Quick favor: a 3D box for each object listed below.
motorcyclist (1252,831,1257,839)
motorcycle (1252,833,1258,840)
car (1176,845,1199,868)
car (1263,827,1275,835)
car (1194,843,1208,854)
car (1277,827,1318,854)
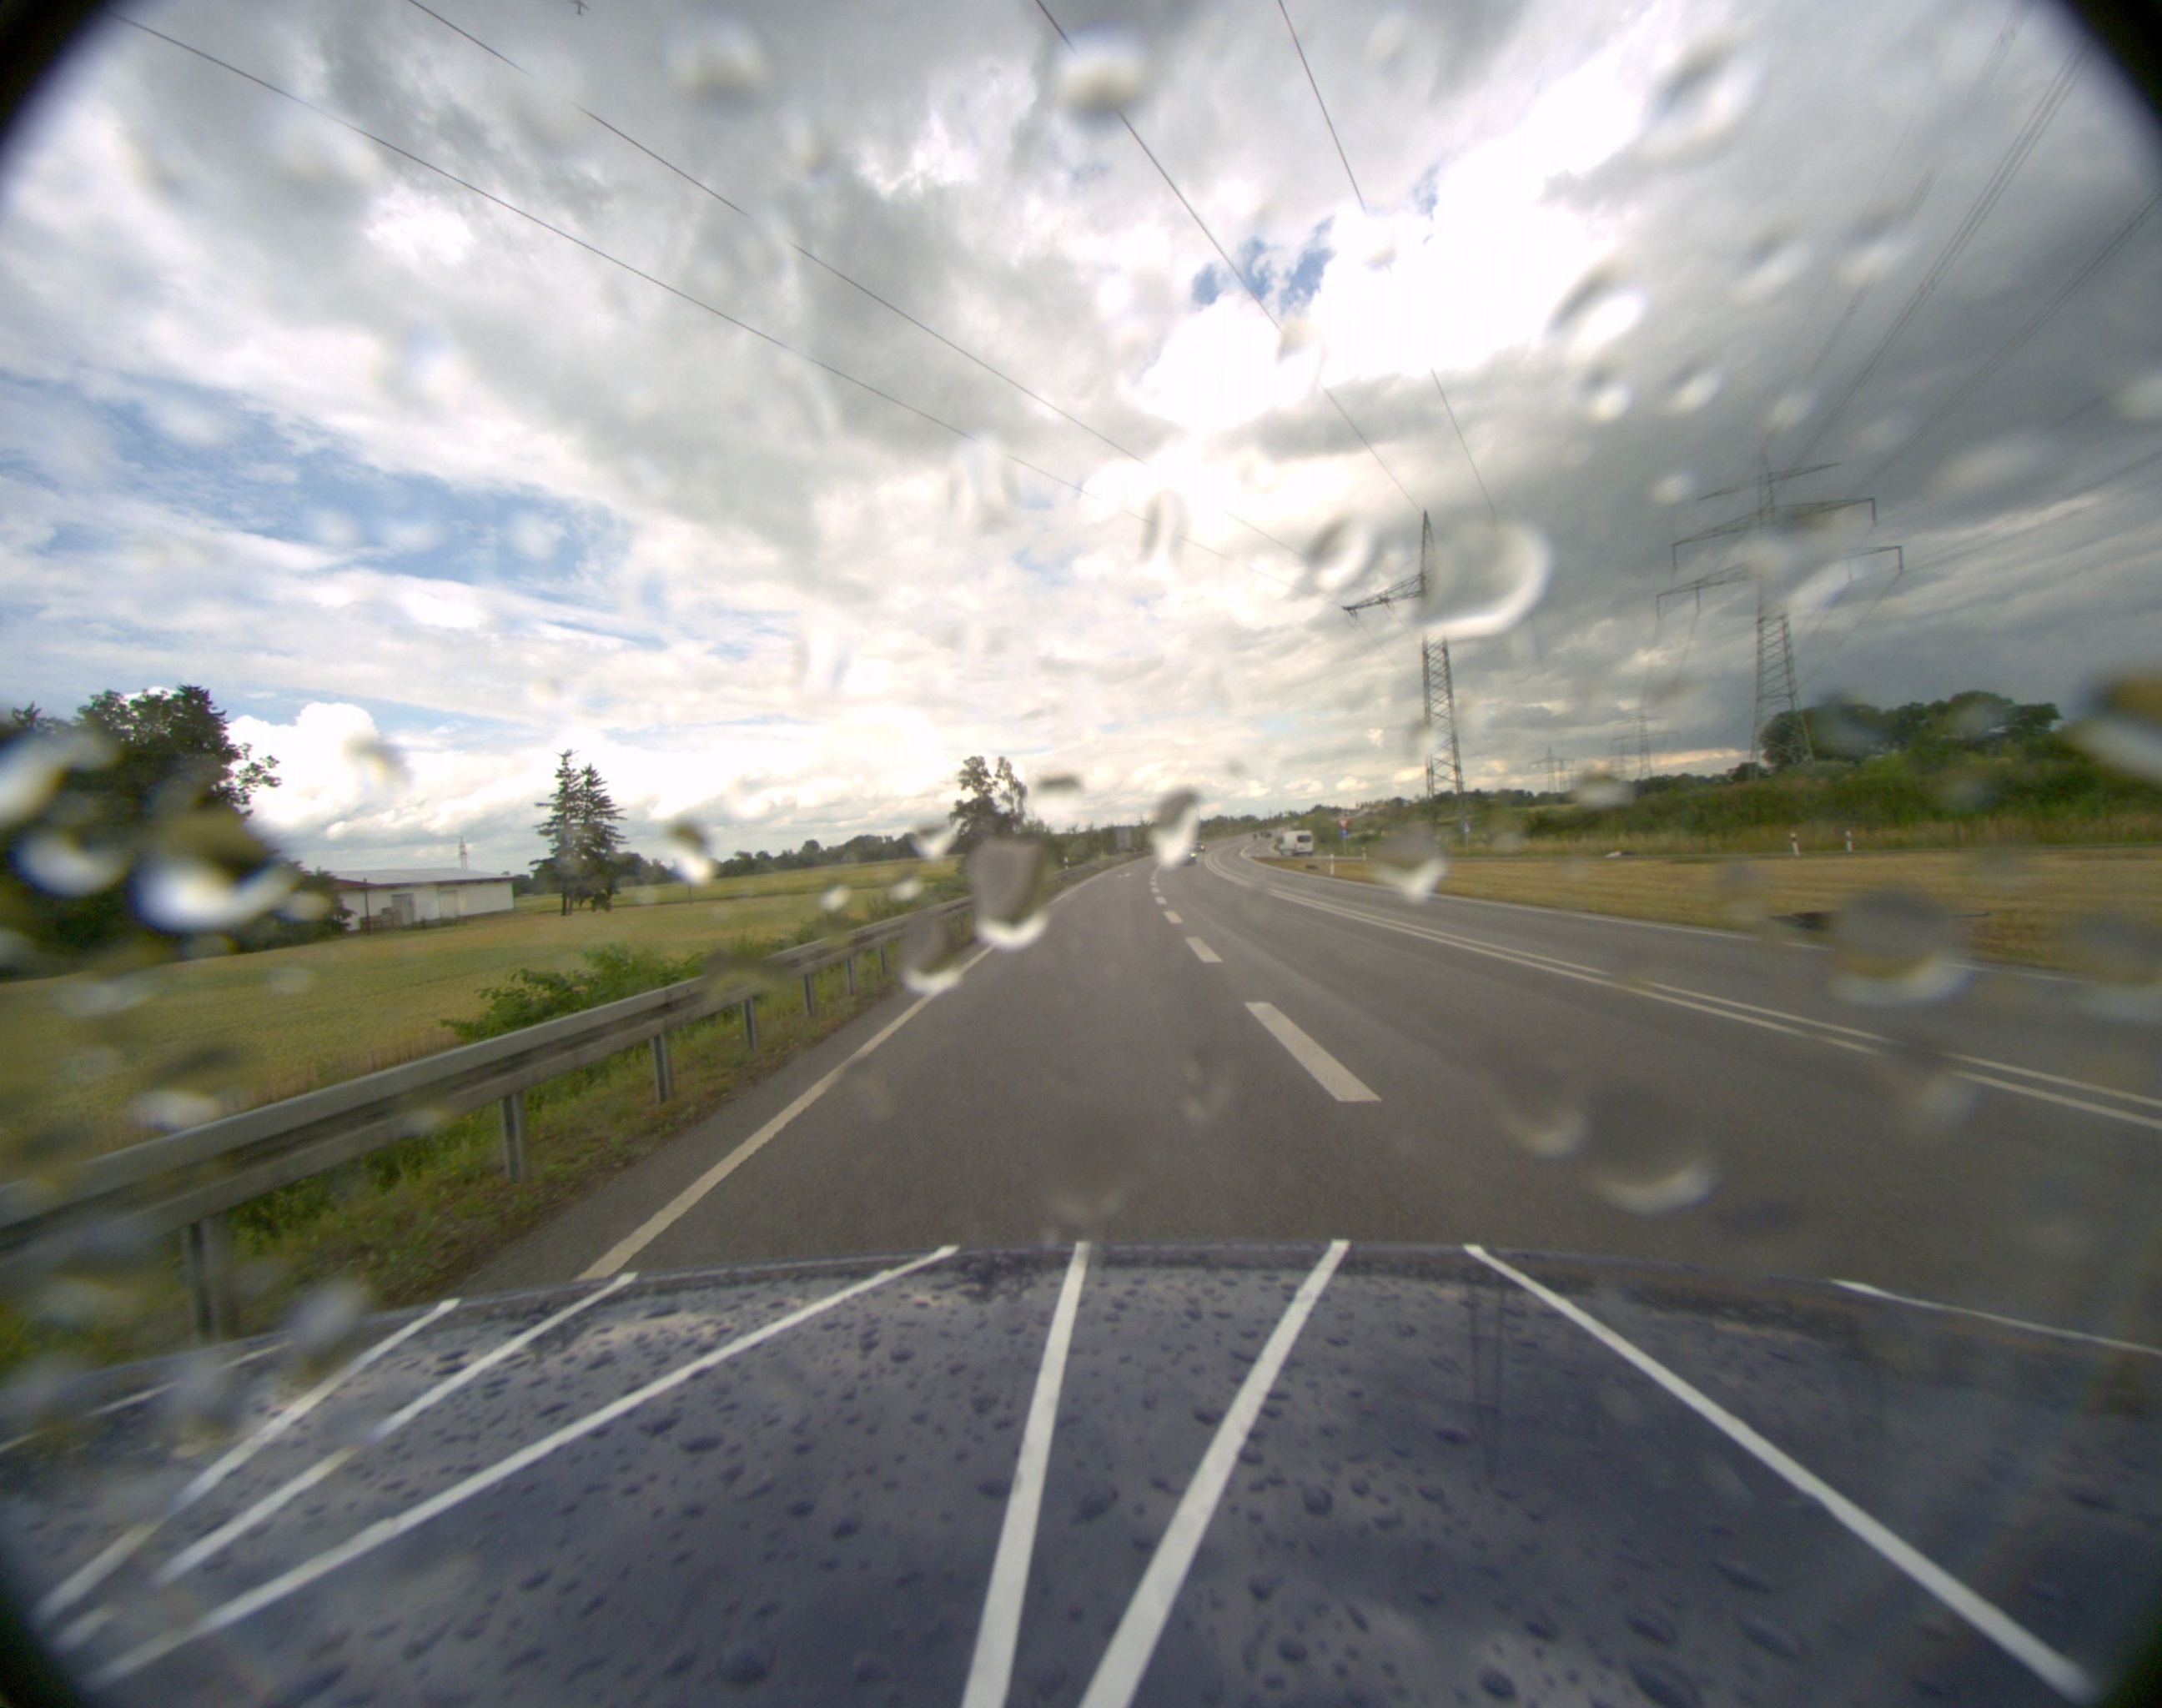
[{"bbox_3d":[35.907,-3.872,157.028,0.803,1.526,0.825,-2,1,19],"label":"motorcyclist"},{"bbox_3d":[35.957,-3.608,157.135,0.803,1.231,2.188,-2,1,19],"label":"motorcycle"},{"bbox_3d":[9.031,0.214,64.806,1.795,1.758,4.001,-3,1,7],"label":"car"},{"bbox_3d":[43.614,-5.302,175.843,1.801,1.585,4.231,-2,2,27],"label":"car"},{"bbox_3d":[17.160,-0.820,108.996,1.748,1.488,4.051,-3,1,7],"label":"car"},{"bbox_3d":[23.121,-1.479,81.472,2.213,2.734,6.017,-3,2,-5],"label":"car"}]
